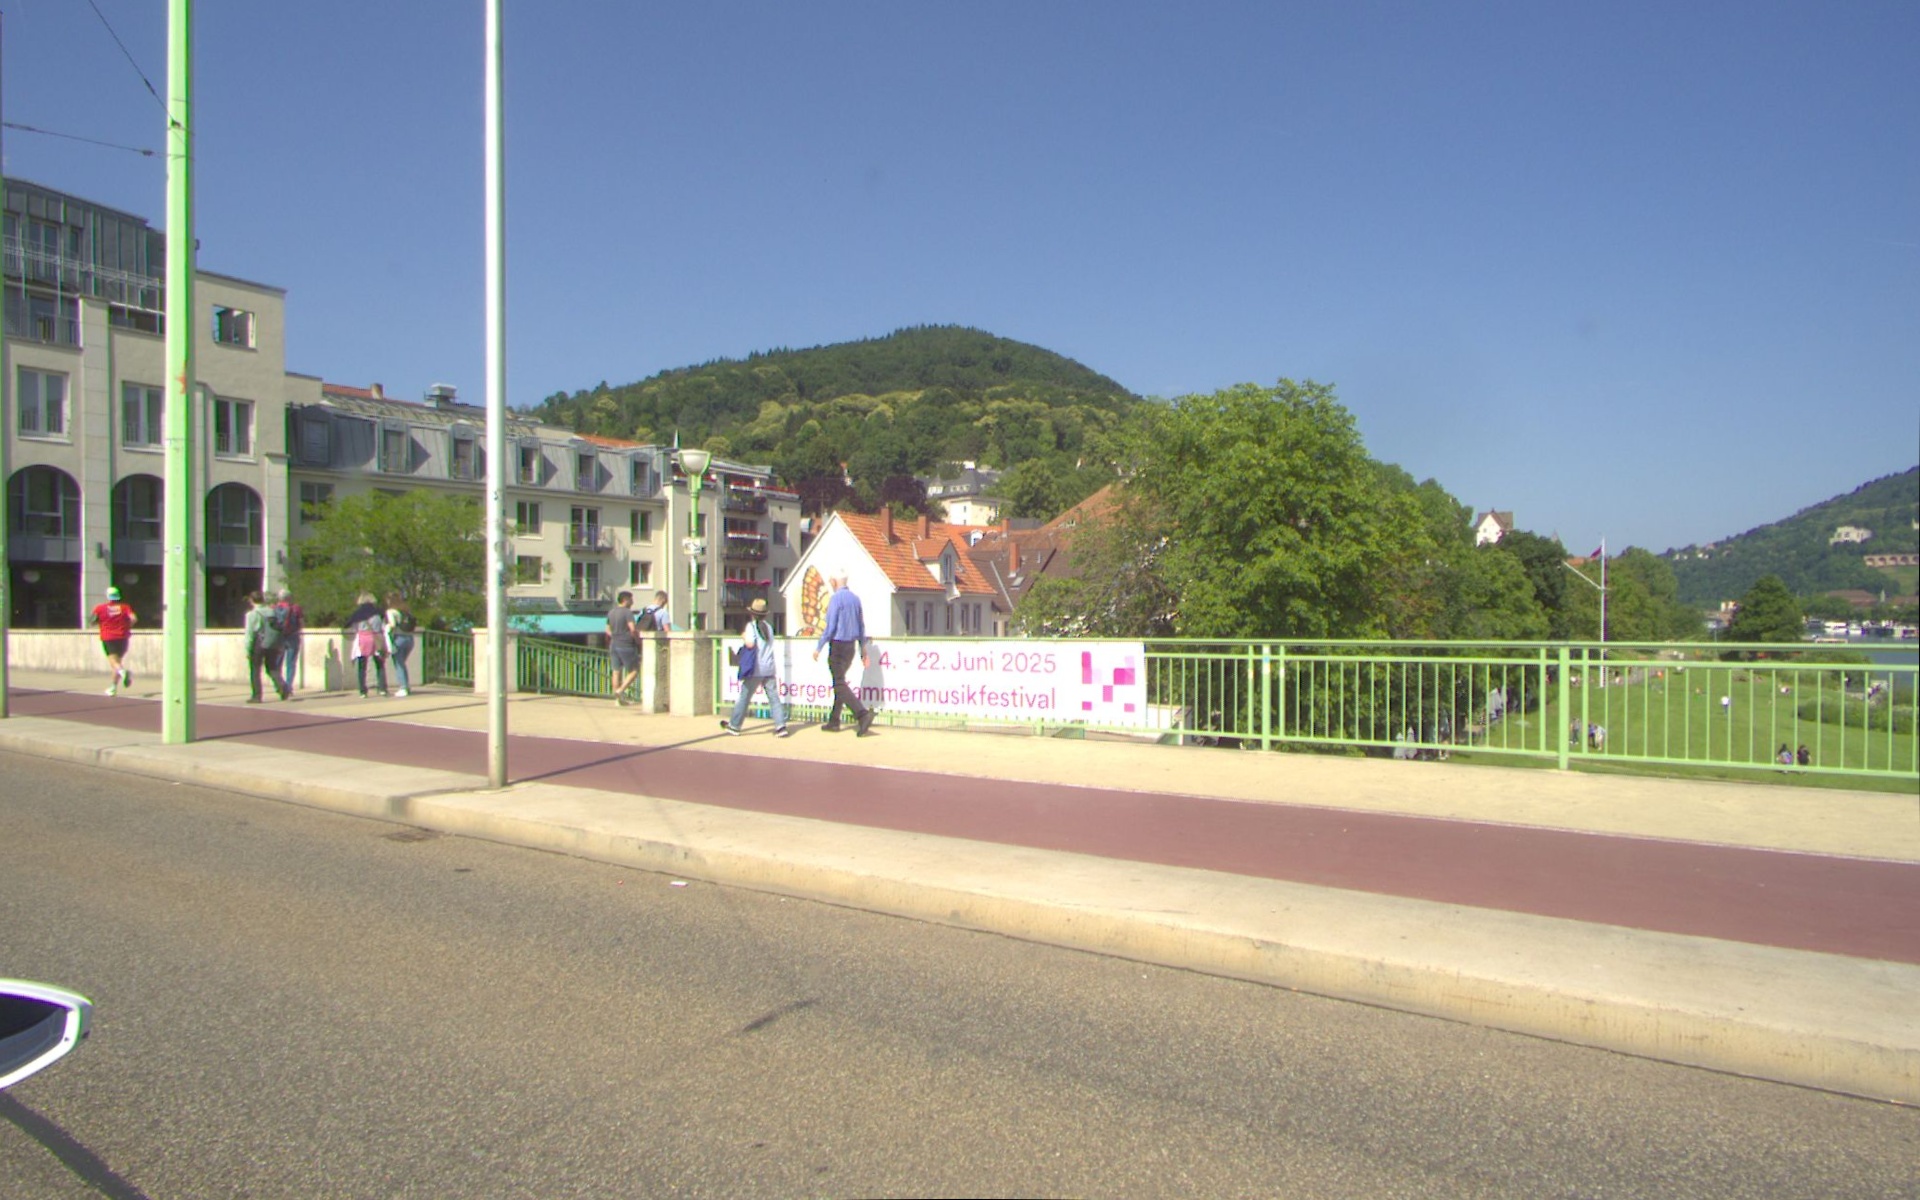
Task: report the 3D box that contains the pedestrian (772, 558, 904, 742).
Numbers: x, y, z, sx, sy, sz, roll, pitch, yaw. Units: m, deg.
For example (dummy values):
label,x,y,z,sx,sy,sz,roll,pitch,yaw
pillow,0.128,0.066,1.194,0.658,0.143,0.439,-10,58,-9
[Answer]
label,x,y,z,sx,sy,sz,roll,pitch,yaw
pedestrian,-1.348,0.526,11.115,1.121,1.923,0.924,0,1,32

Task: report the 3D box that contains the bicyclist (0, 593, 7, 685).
label,x,y,z,sx,sy,sz,roll,pitch,yaw
bicyclist,-17.825,0.718,18.168,0.692,1.672,0.603,0,1,33

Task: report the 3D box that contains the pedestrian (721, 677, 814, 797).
label,x,y,z,sx,sy,sz,roll,pitch,yaw
pedestrian,-3.225,2.260,16.850,0.965,1.801,1.202,0,1,28

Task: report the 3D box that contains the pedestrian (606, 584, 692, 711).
label,x,y,z,sx,sy,sz,roll,pitch,yaw
pedestrian,-4.441,0.661,14.365,0.728,1.741,1.014,0,0,17

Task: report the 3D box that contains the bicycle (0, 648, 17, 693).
label,x,y,z,sx,sy,sz,roll,pitch,yaw
bicycle,-17.851,1.279,18.195,1.840,0.776,0.592,-1,1,33

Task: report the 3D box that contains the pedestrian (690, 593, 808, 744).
label,x,y,z,sx,sy,sz,roll,pitch,yaw
pedestrian,-2.300,0.709,10.940,0.919,1.550,0.827,0,1,32

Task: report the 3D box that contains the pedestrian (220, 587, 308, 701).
label,x,y,z,sx,sy,sz,roll,pitch,yaw
pedestrian,-11.051,0.668,15.897,1.058,1.741,0.753,0,1,32

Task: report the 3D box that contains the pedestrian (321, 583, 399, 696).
label,x,y,z,sx,sy,sz,roll,pitch,yaw
pedestrian,-9.904,0.633,16.526,1.002,1.801,0.736,0,2,36

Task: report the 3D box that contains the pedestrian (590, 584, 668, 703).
label,x,y,z,sx,sy,sz,roll,pitch,yaw
pedestrian,-5.012,0.642,15.230,0.727,1.741,1.015,-1,1,6

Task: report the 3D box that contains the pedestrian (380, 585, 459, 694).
label,x,y,z,sx,sy,sz,roll,pitch,yaw
pedestrian,-9.142,0.649,16.953,1.001,1.770,0.737,0,1,32

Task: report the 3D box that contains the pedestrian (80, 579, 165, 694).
label,x,y,z,sx,sy,sz,roll,pitch,yaw
pedestrian,-14.732,0.627,17.612,1.111,1.950,0.809,0,1,32

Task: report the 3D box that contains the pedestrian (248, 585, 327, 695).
label,x,y,z,sx,sy,sz,roll,pitch,yaw
pedestrian,-11.551,0.668,17.195,1.001,1.826,0.737,0,1,32
